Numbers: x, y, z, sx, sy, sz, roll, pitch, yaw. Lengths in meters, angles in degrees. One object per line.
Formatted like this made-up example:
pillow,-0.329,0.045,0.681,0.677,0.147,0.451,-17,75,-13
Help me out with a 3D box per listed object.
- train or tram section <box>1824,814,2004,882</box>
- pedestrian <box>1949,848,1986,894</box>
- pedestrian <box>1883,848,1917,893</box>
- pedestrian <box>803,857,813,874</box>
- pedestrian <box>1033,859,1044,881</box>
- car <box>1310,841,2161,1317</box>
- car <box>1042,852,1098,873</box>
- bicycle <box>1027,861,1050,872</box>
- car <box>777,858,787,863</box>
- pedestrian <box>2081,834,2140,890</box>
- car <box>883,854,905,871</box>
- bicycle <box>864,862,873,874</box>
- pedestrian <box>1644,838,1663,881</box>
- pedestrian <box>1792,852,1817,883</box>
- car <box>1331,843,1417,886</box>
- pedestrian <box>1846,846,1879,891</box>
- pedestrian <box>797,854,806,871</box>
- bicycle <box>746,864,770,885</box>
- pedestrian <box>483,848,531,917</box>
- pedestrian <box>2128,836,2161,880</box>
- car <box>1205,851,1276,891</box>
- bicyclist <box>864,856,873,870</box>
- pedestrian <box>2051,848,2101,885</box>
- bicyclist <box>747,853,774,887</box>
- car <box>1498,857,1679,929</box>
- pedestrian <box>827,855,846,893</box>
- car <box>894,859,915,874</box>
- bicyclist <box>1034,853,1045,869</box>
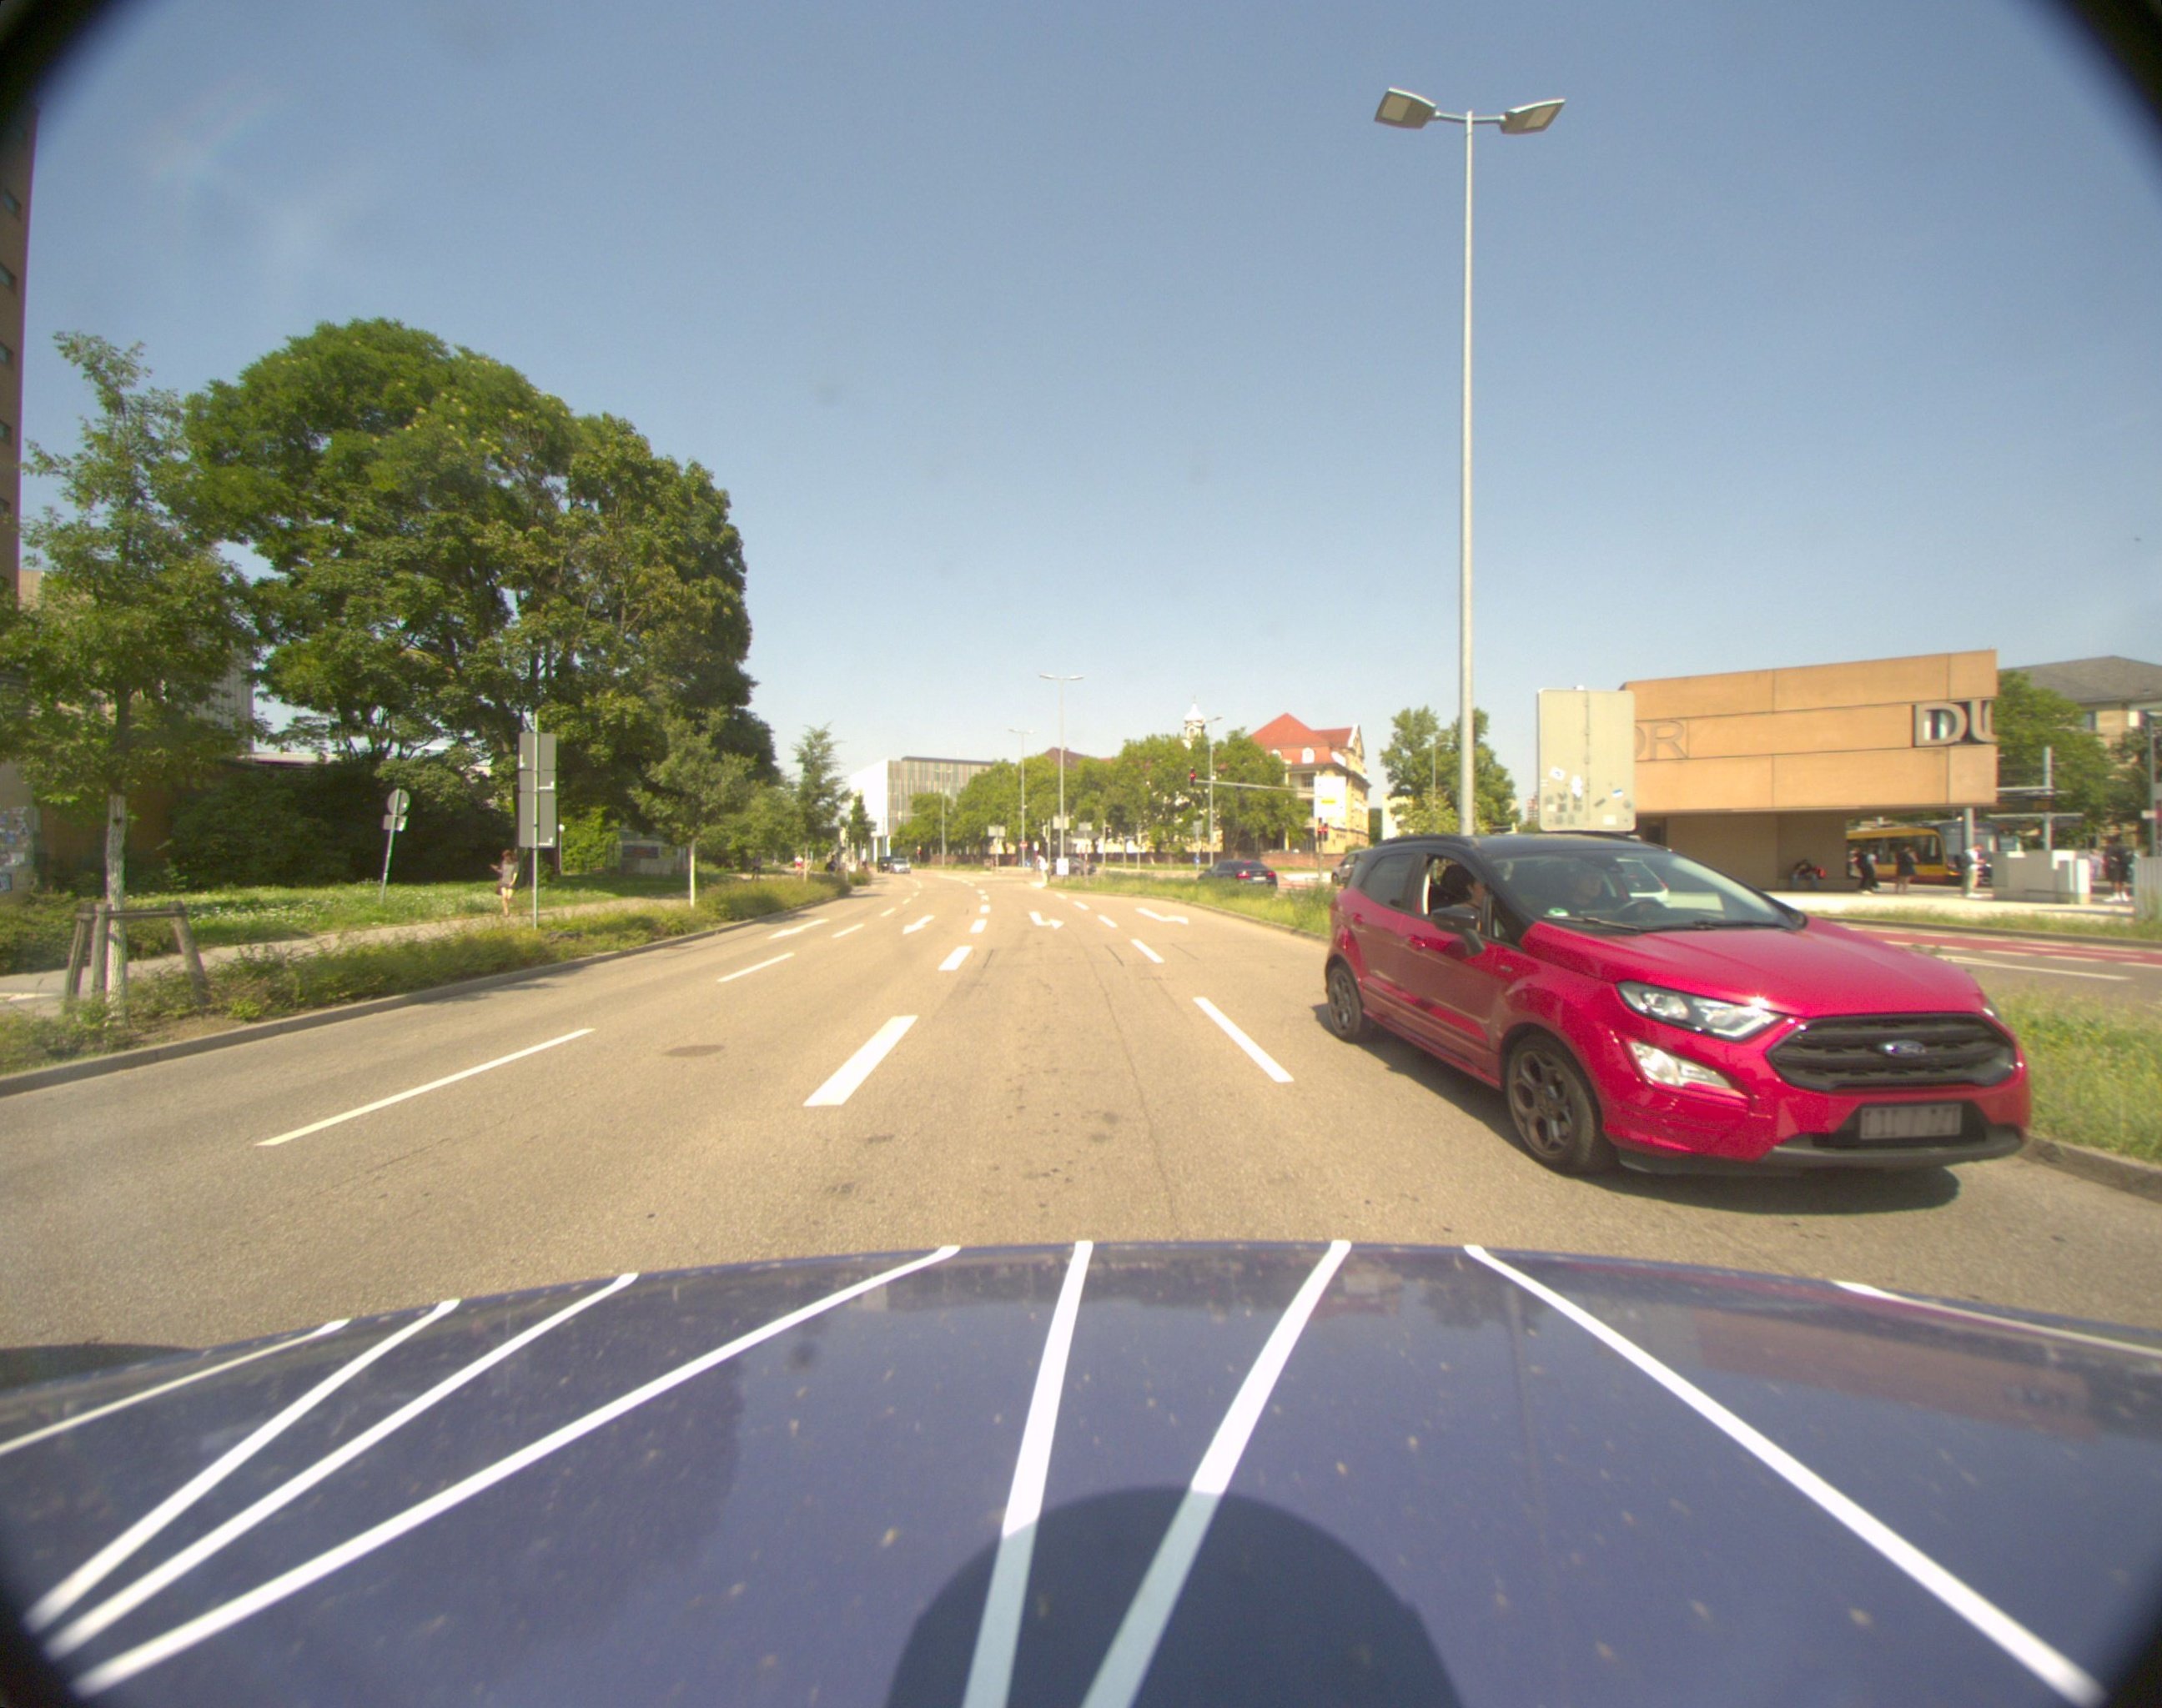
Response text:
train or tram section,47.746,-0.309,44.273,2.698,3.418,13.446,0,0,28
pedestrian,28.616,0.542,24.540,0.539,1.488,0.541,0,1,-2
pedestrian,27.546,0.545,25.566,0.539,1.488,0.541,0,1,-2
pedestrian,-21.217,0.889,58.990,0.618,1.291,0.436,-3,1,-24
pedestrian,-2.575,0.957,45.864,0.605,1.291,0.617,-2,1,-5
car,2.900,0.774,4.559,1.694,1.577,3.844,-2,0,-3
car,-0.892,0.669,59.846,3.989,1.608,1.803,0,0,26
bicycle,-4.208,1.260,74.773,2.267,1.070,0.659,0,0,-7
car,-87.093,1.952,221.073,1.877,1.521,4.522,0,0,-32
pedestrian,27.993,0.220,20.673,0.771,1.488,0.606,0,1,-2
car,-21.697,0.976,88.022,1.893,1.908,4.525,-2,0,-21
bicycle,-21.534,1.391,76.957,0.595,1.162,2.231,-1,0,-24
pedestrian,21.839,0.191,29.001,0.540,1.615,0.689,0,1,35
pedestrian,26.209,0.475,27.519,0.538,1.093,0.543,0,1,31
car,13.397,0.441,34.975,1.869,1.843,3.911,0,1,-12
pedestrian,26.364,0.482,25.628,0.539,1.488,0.541,0,1,-2
pedestrian,-21.624,0.679,58.781,0.635,1.291,0.486,-3,1,-23
bicycle,-15.083,0.948,35.540,0.357,0.974,1.782,0,0,0
pedestrian,-14.445,0.693,19.141,0.672,1.689,0.805,0,1,-11
pedestrian,44.801,0.162,31.911,0.804,1.812,0.534,0,1,28
car,6.065,0.617,29.258,1.526,1.417,3.474,0,0,-9
bicyclist,-21.541,0.882,77.035,0.680,1.392,1.047,-1,1,-25
pedestrian,46.829,0.568,35.786,1.076,1.686,1.066,0,1,27
bicyclist,-15.053,0.741,35.708,0.904,1.596,0.924,0,0,-2
car,11.442,0.807,17.420,1.526,1.470,3.474,0,0,-9
pedestrian,-12.204,0.997,37.937,0.823,1.892,0.630,-1,1,-13
car,-18.769,1.295,80.629,1.661,1.521,4.526,-2,0,-19
bicyclist,-4.102,0.685,74.796,1.017,1.542,0.718,0,0,-7
